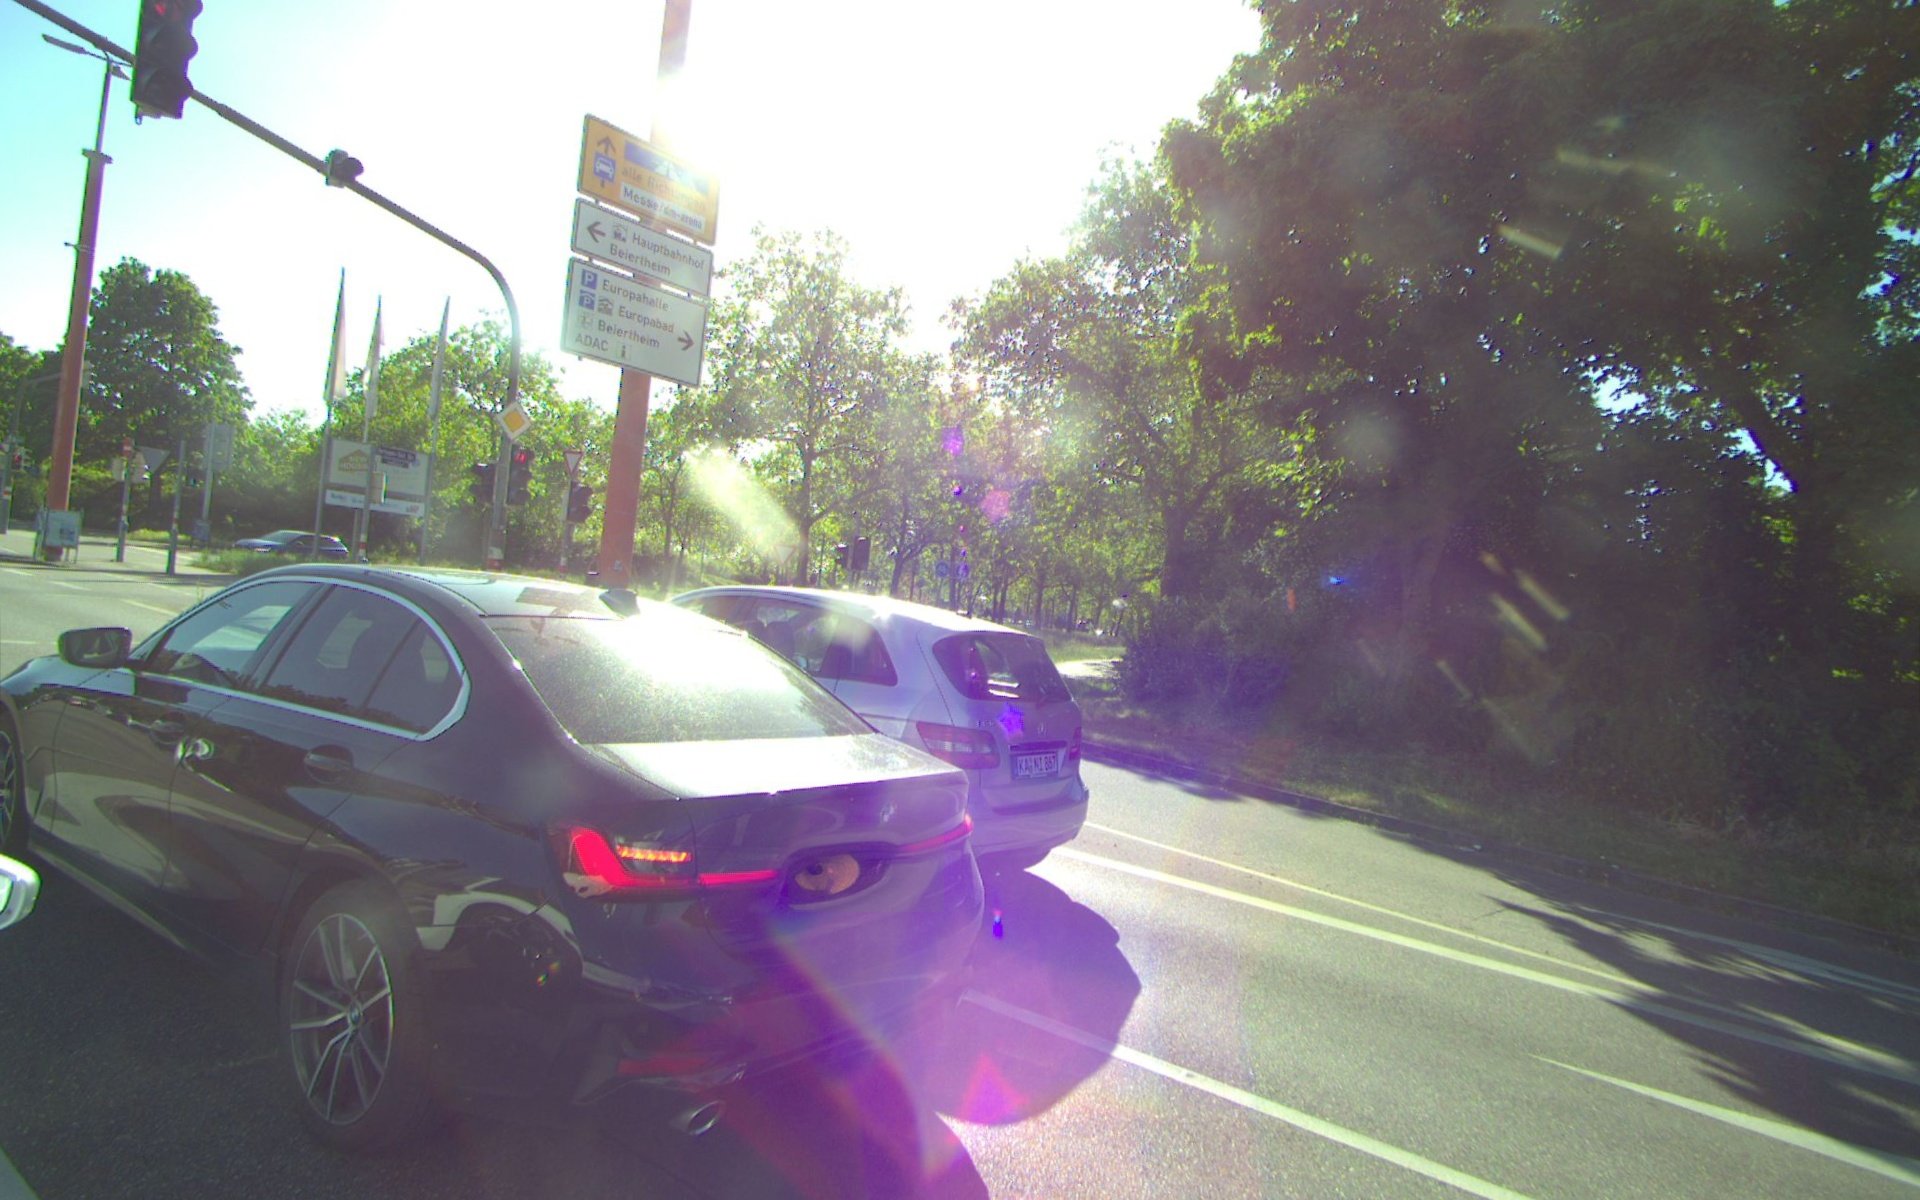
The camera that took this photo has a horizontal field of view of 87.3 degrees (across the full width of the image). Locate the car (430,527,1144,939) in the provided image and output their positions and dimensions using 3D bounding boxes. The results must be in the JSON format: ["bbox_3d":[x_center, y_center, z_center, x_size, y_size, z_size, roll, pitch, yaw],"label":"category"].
[{"bbox_3d":[-1.278,0.640,6.788,4.403,1.706,1.970,7,-1,32],"label":"car"}]

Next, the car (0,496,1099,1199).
[{"bbox_3d":[-1.956,0.529,3.880,4.403,1.411,1.996,7,0,32],"label":"car"}]

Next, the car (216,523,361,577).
[{"bbox_3d":[-25.120,-1.819,37.832,1.848,1.445,4.283,7,-1,14],"label":"car"}]
